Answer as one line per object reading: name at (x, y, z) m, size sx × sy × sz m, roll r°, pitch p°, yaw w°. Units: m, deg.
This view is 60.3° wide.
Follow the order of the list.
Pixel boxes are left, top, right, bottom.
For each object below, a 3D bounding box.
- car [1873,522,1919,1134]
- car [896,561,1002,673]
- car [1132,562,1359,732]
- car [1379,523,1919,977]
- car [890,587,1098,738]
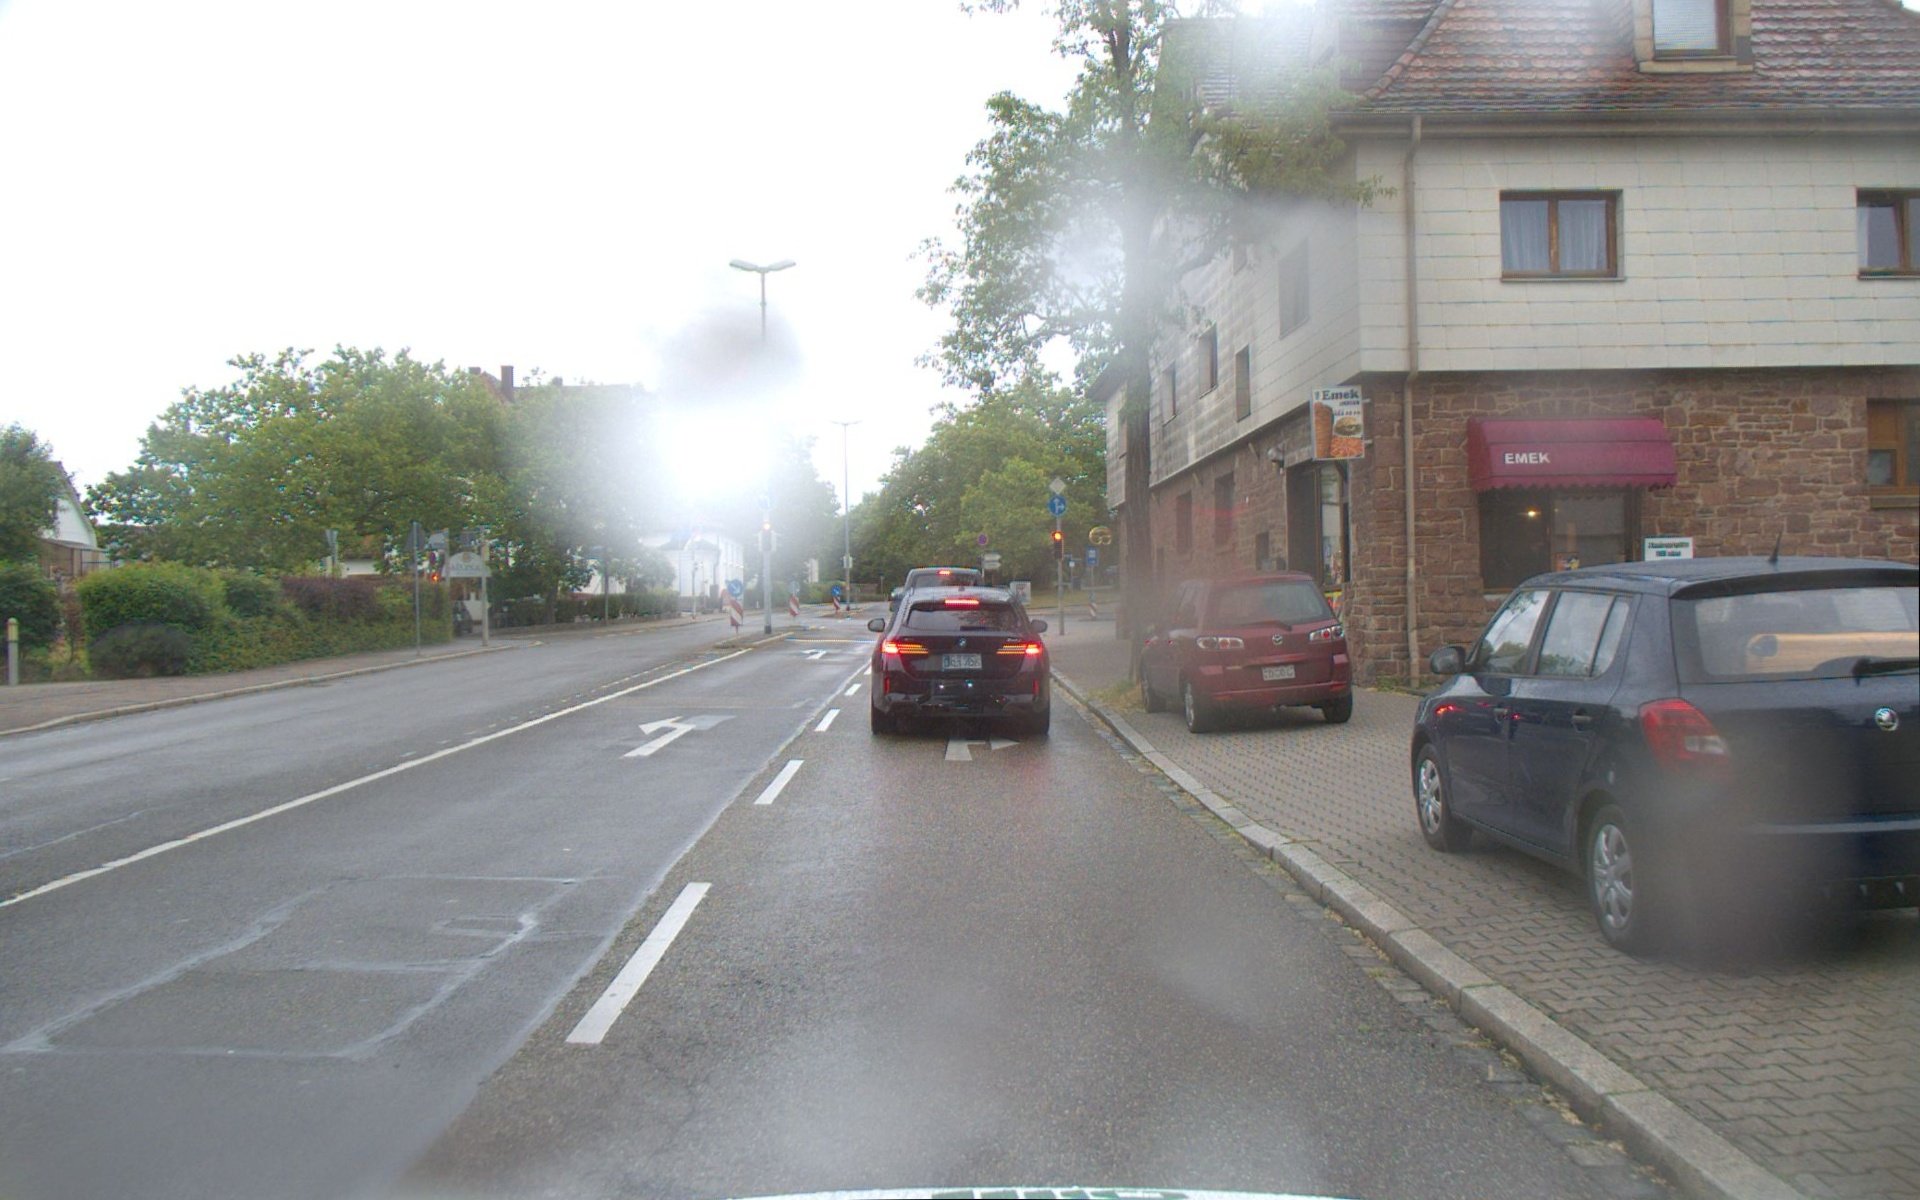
car at (3.222, 0.546, 2.117) m, size 1.679 × 1.524 × 4.183 m, roll -4°, pitch 1°, yaw -1°
car at (-0.253, 0.255, 29.662) m, size 1.748 × 1.849 × 3.998 m, roll -1°, pitch 1°, yaw -2°
car at (2.922, 0.407, 17.633) m, size 1.552 × 1.516 × 3.626 m, roll -4°, pitch 1°, yaw -3°
car at (3.276, 0.474, 7.684) m, size 1.572 × 1.497 × 3.856 m, roll -4°, pitch 1°, yaw 0°
car at (0.243, 0.591, 18.424) m, size 2.023 × 1.471 × 4.481 m, roll 0°, pitch 0°, yaw -3°
